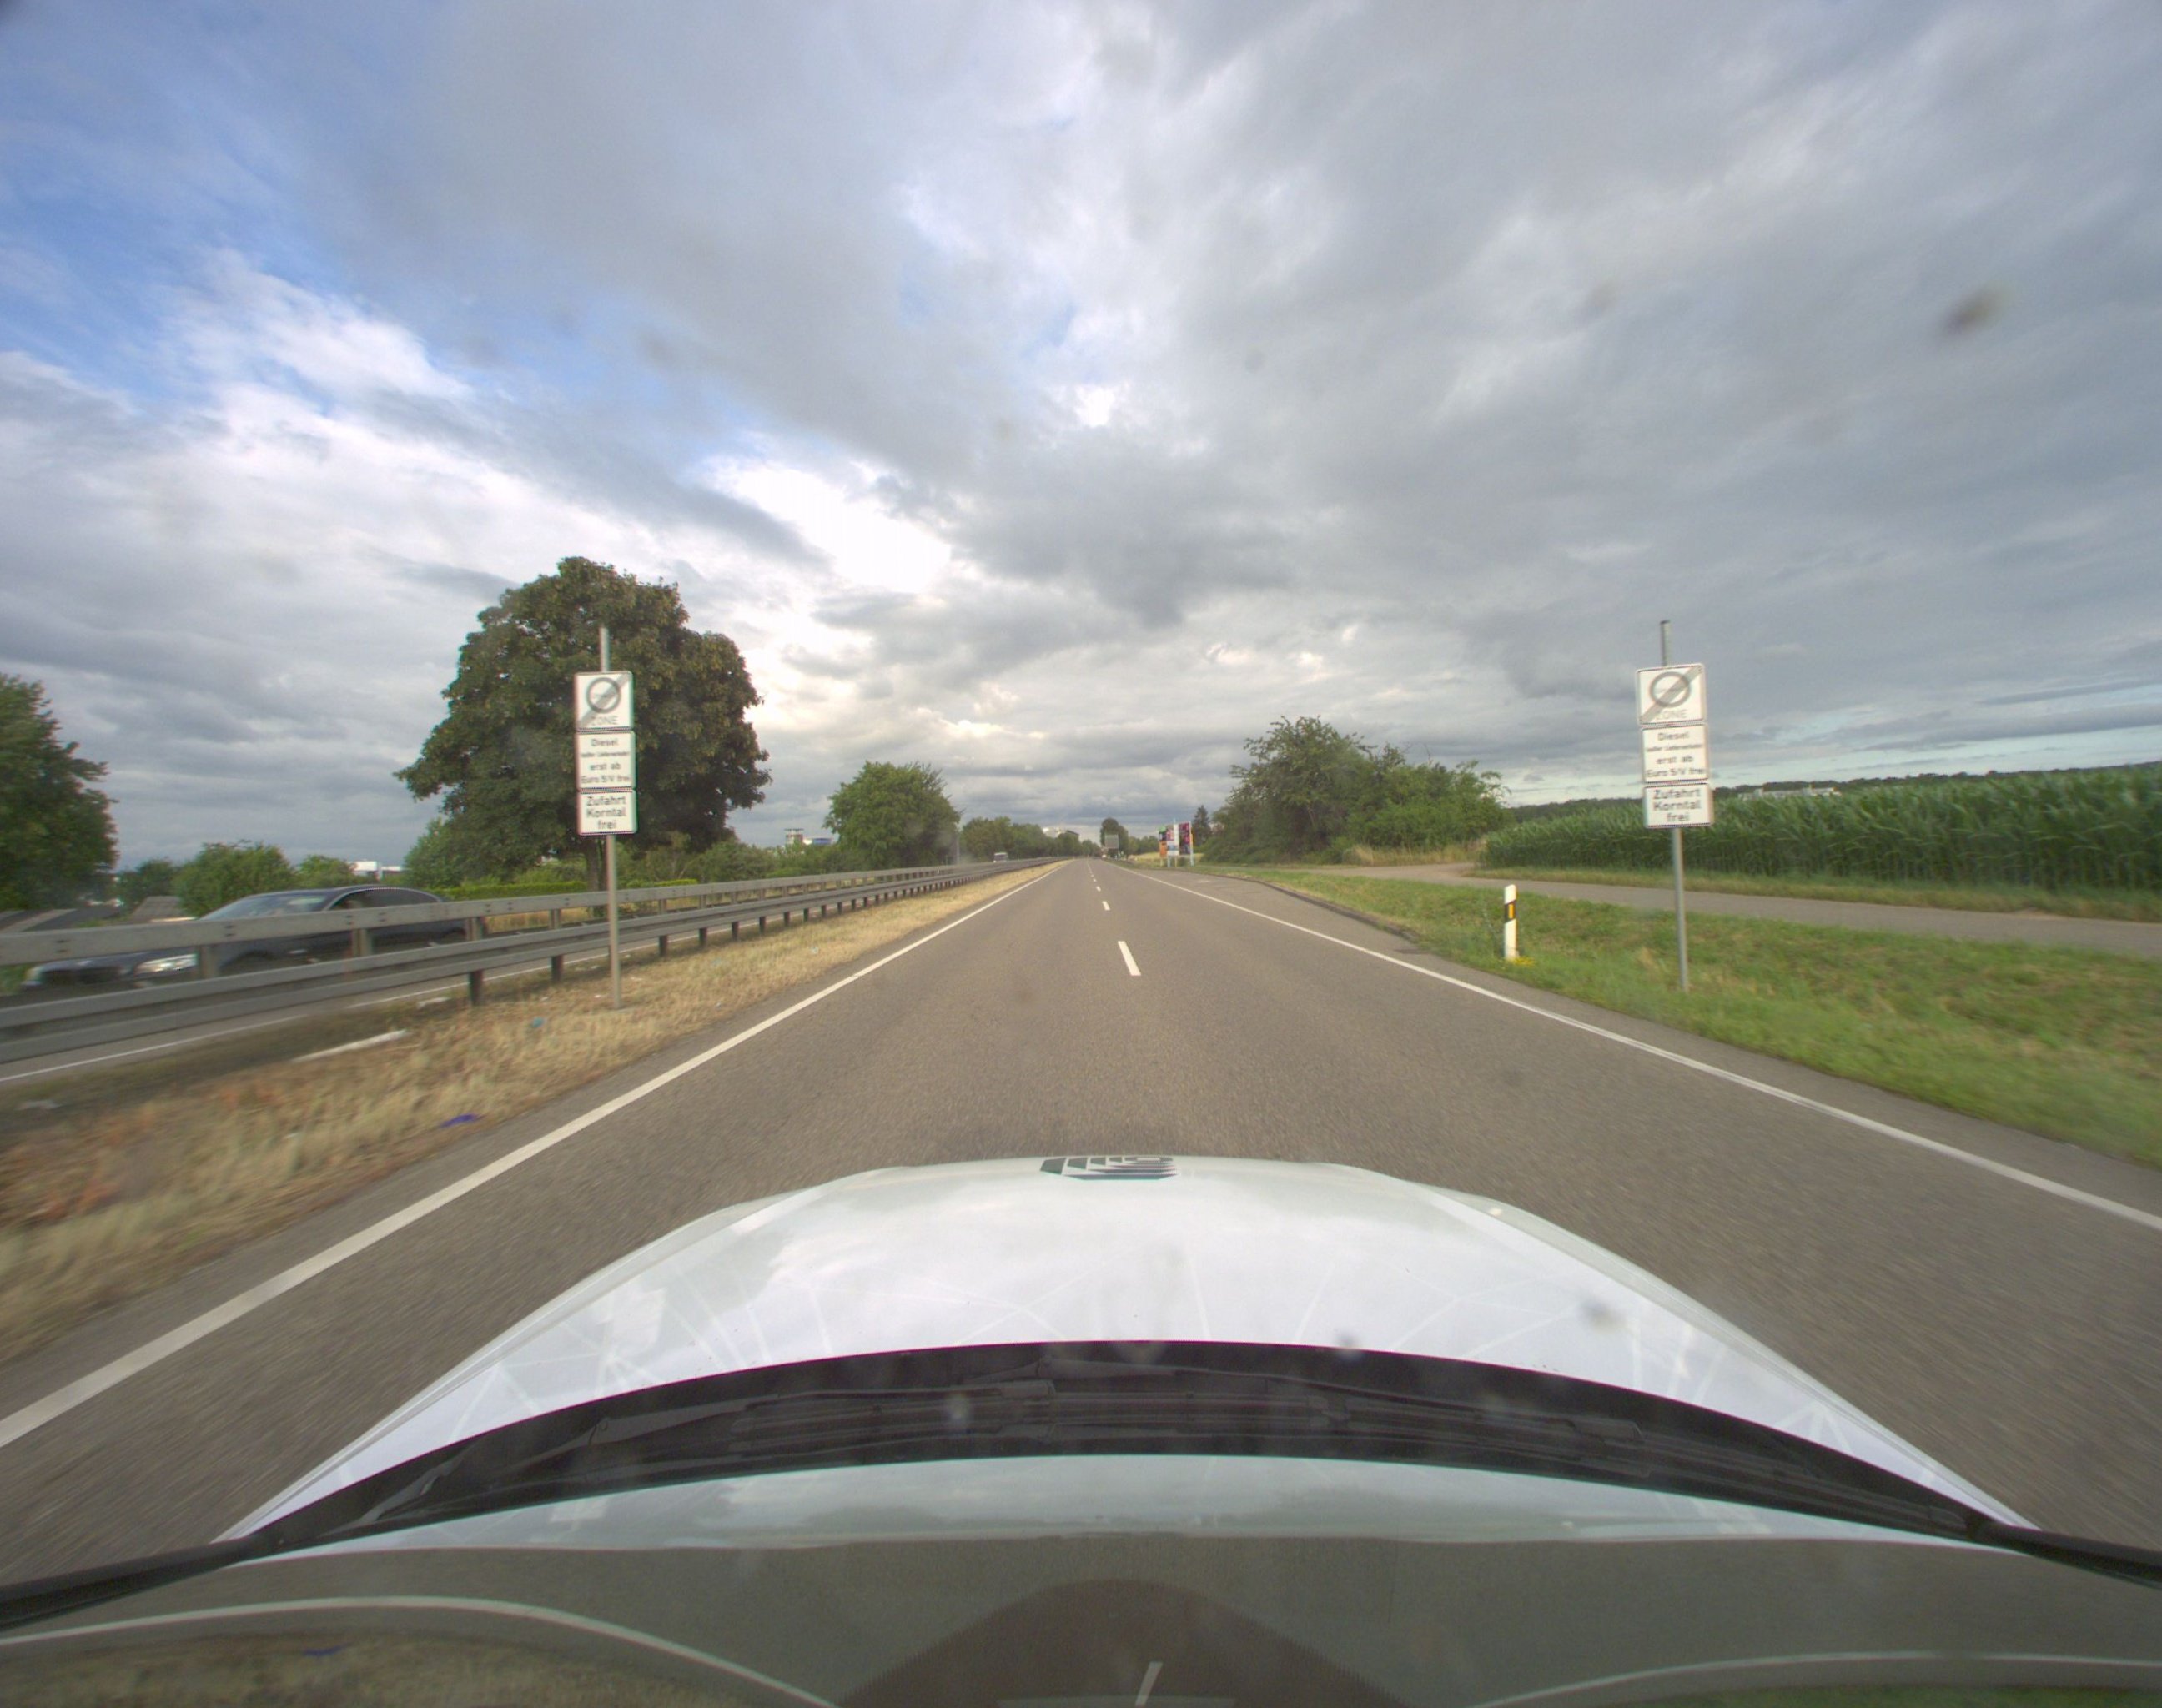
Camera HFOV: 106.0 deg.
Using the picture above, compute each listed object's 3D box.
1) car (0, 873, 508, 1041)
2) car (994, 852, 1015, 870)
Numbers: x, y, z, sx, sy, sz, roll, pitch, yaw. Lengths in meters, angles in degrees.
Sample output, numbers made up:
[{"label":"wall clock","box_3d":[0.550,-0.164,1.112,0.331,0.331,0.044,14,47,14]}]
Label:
[{"label":"car","box_3d":[-10.225,1.100,10.667,1.861,1.477,4.934,-3,0,0]},{"label":"car","box_3d":[-9.939,0.899,105.730,1.986,2.140,5.320,-3,0,1]}]
